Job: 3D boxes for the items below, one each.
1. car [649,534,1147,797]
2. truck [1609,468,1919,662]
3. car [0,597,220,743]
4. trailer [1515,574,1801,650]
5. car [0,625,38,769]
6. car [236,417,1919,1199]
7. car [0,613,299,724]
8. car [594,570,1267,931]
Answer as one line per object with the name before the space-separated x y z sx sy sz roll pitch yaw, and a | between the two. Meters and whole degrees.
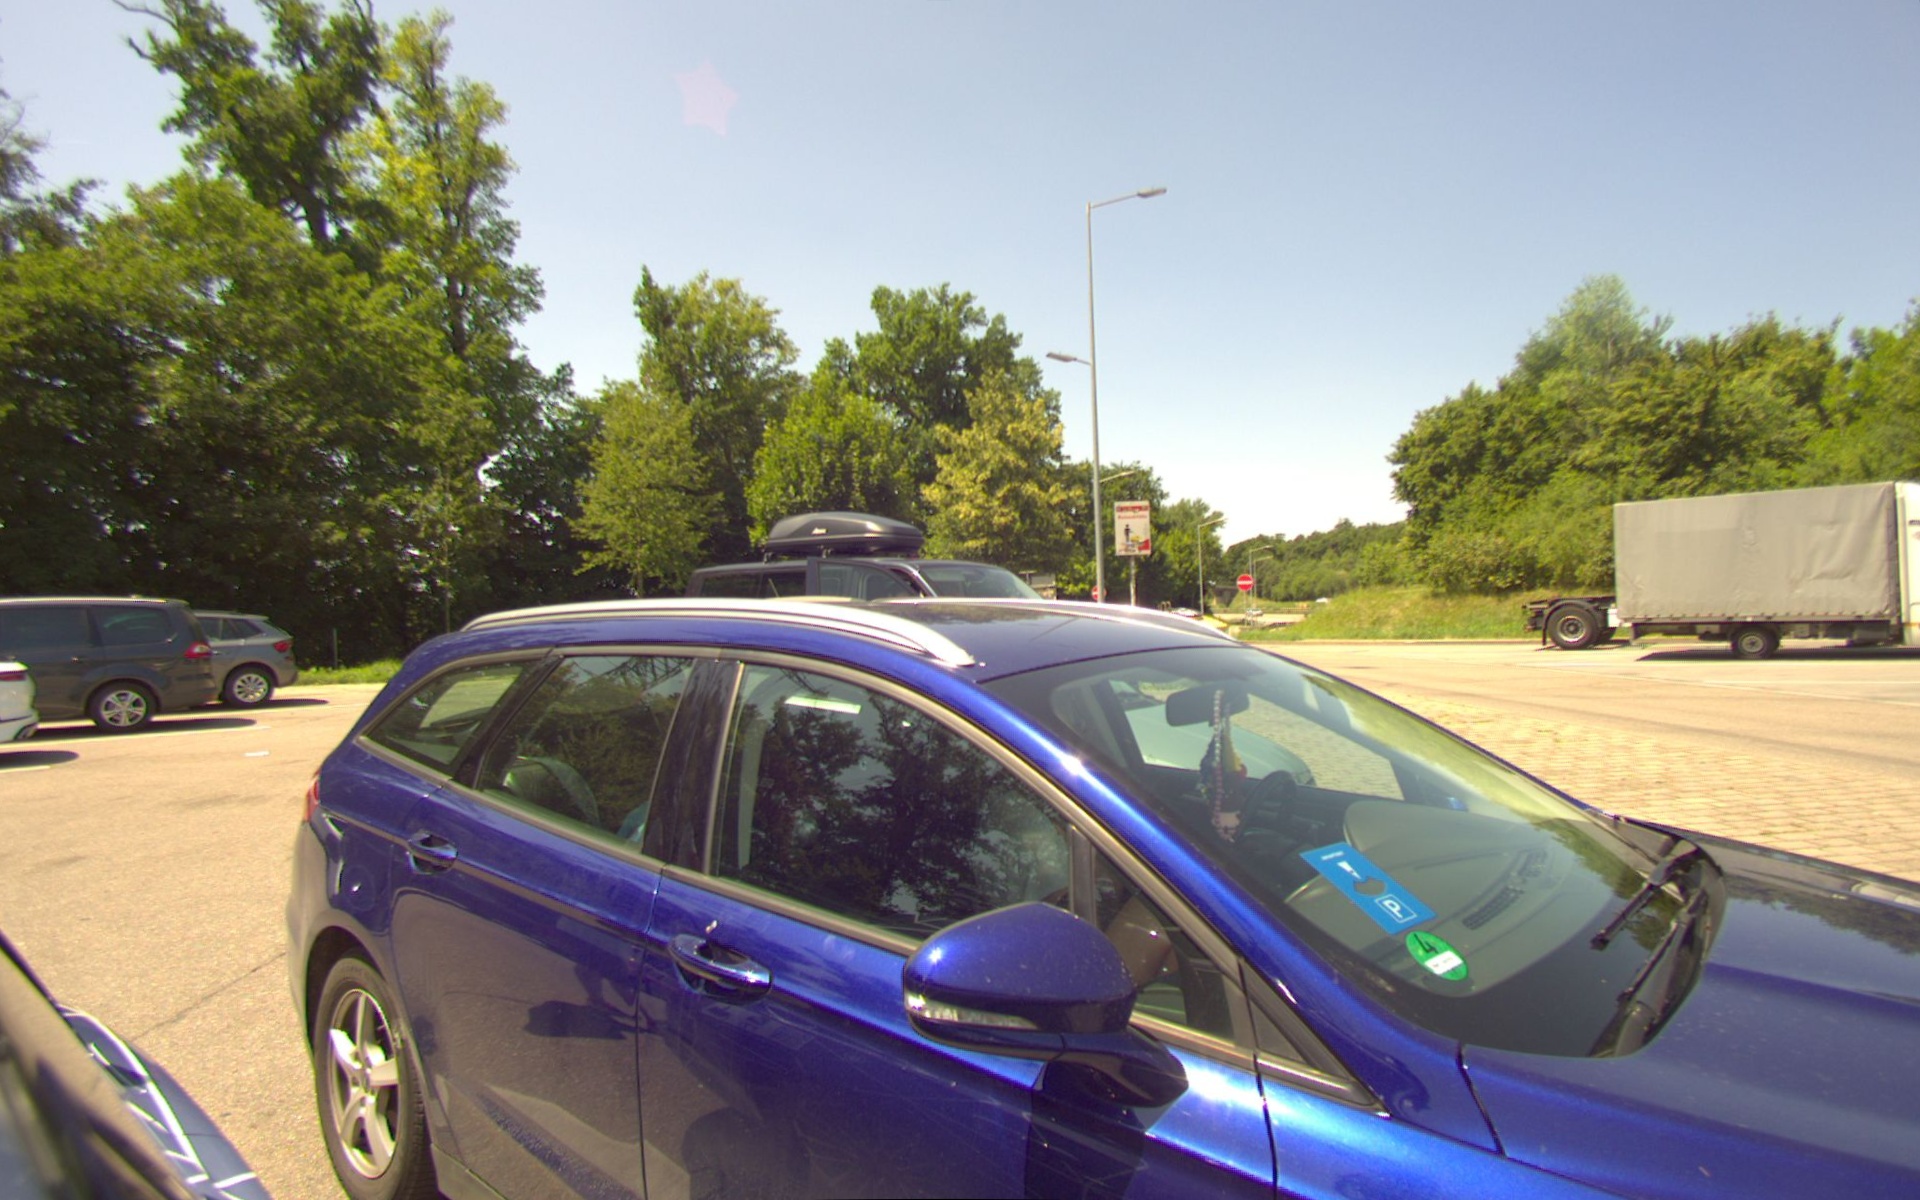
car | -0.739 0.531 9.421 4.427 1.875 2.022 -2 -1 40
truck | 16.704 -0.624 18.849 7.308 3.258 2.294 -5 -2 43
car | -11.720 0.834 12.592 3.830 1.703 1.883 0 -2 -45
trailer | 16.325 0.340 23.922 5.393 1.608 1.576 -2 -1 41
car | -10.966 0.942 9.203 3.753 1.377 1.804 0 -1 -45
car | 0.233 0.649 2.089 4.427 1.455 1.763 -2 -1 40
car | -12.602 0.970 15.618 3.753 1.488 1.743 0 -1 -45
car | -0.371 0.648 5.811 3.739 1.424 1.587 -2 -1 40
